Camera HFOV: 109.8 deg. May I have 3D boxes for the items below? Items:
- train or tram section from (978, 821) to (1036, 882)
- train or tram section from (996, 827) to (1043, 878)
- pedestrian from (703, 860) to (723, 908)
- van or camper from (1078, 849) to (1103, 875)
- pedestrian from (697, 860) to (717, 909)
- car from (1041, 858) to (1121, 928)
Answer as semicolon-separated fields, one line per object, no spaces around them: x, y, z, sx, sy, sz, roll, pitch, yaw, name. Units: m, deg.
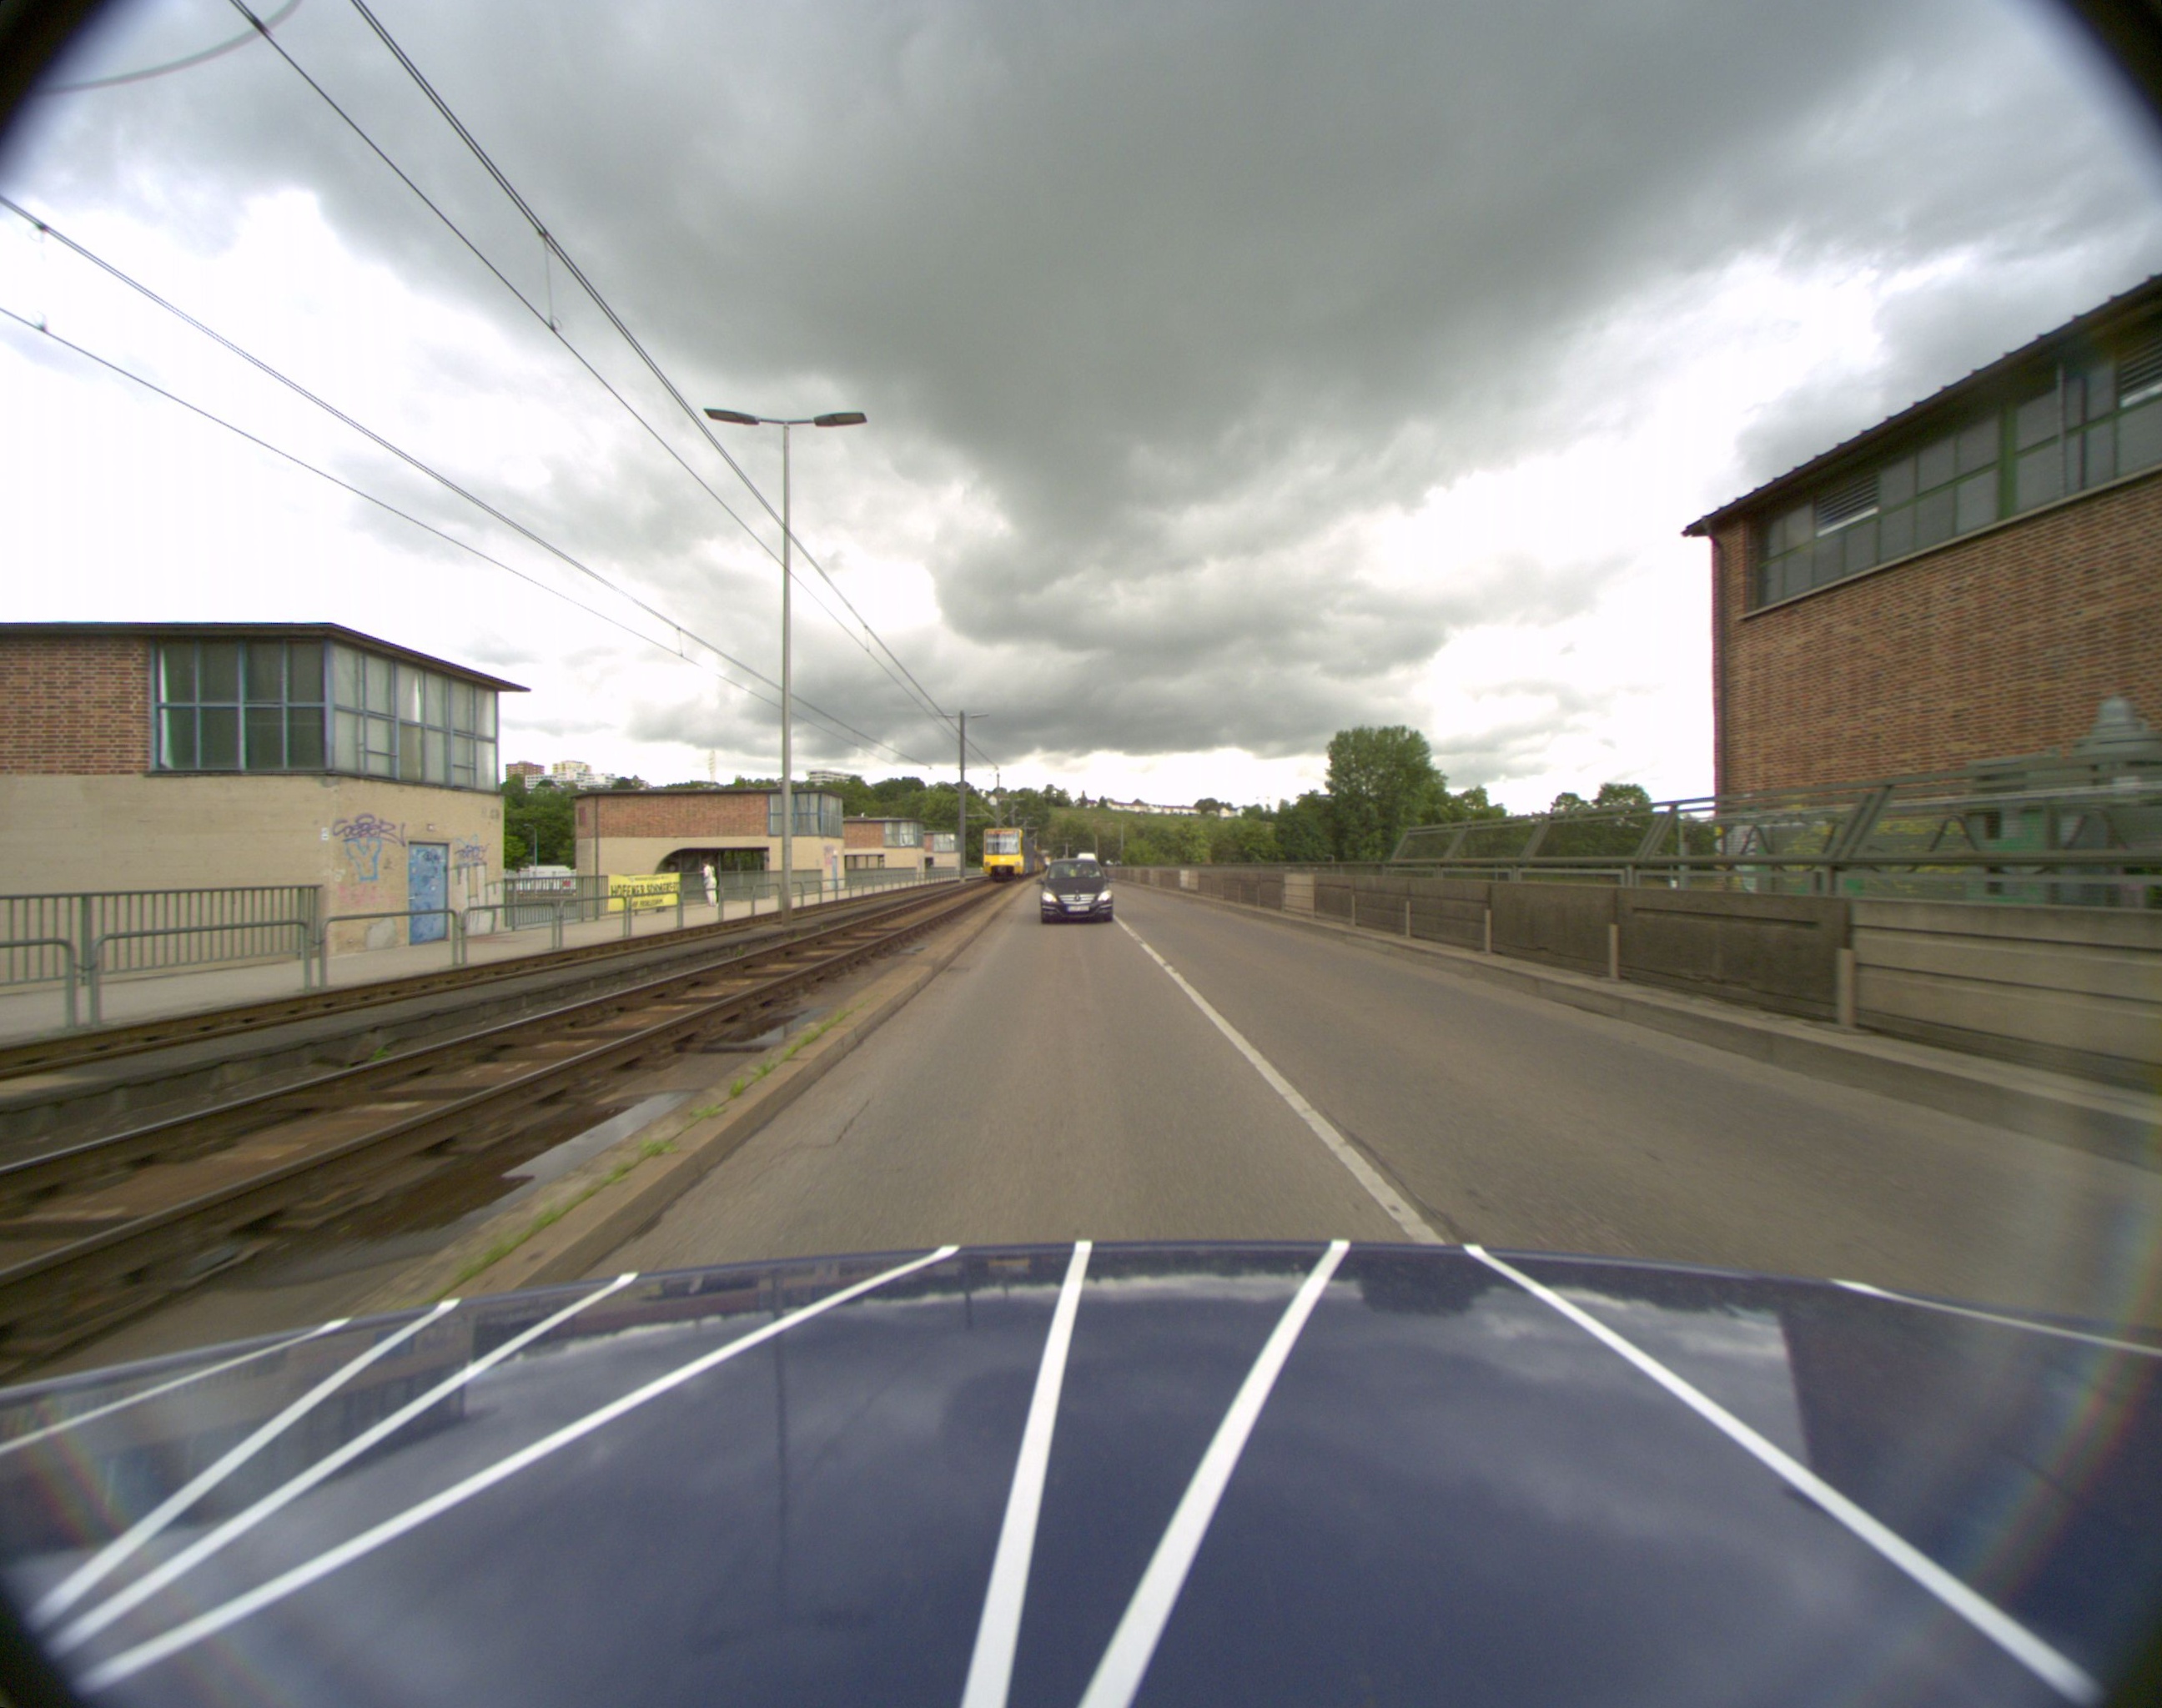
-5.134;-0.141;54.476;3.030;3.895;9.443;-1;0;1;train or tram section
-5.020;-0.110;63.937;3.030;3.895;9.443;-1;0;1;train or tram section
-12.807;1.037;26.422;0.511;1.655;0.352;-1;0;-6;pedestrian
0.907;0.783;75.967;2.156;2.460;4.709;-2;0;-3;van or camper
-12.769;1.037;25.947;0.511;1.655;0.352;-1;0;-6;pedestrian
0.012;0.936;19.727;1.860;1.612;4.000;-1;-1;0;car
